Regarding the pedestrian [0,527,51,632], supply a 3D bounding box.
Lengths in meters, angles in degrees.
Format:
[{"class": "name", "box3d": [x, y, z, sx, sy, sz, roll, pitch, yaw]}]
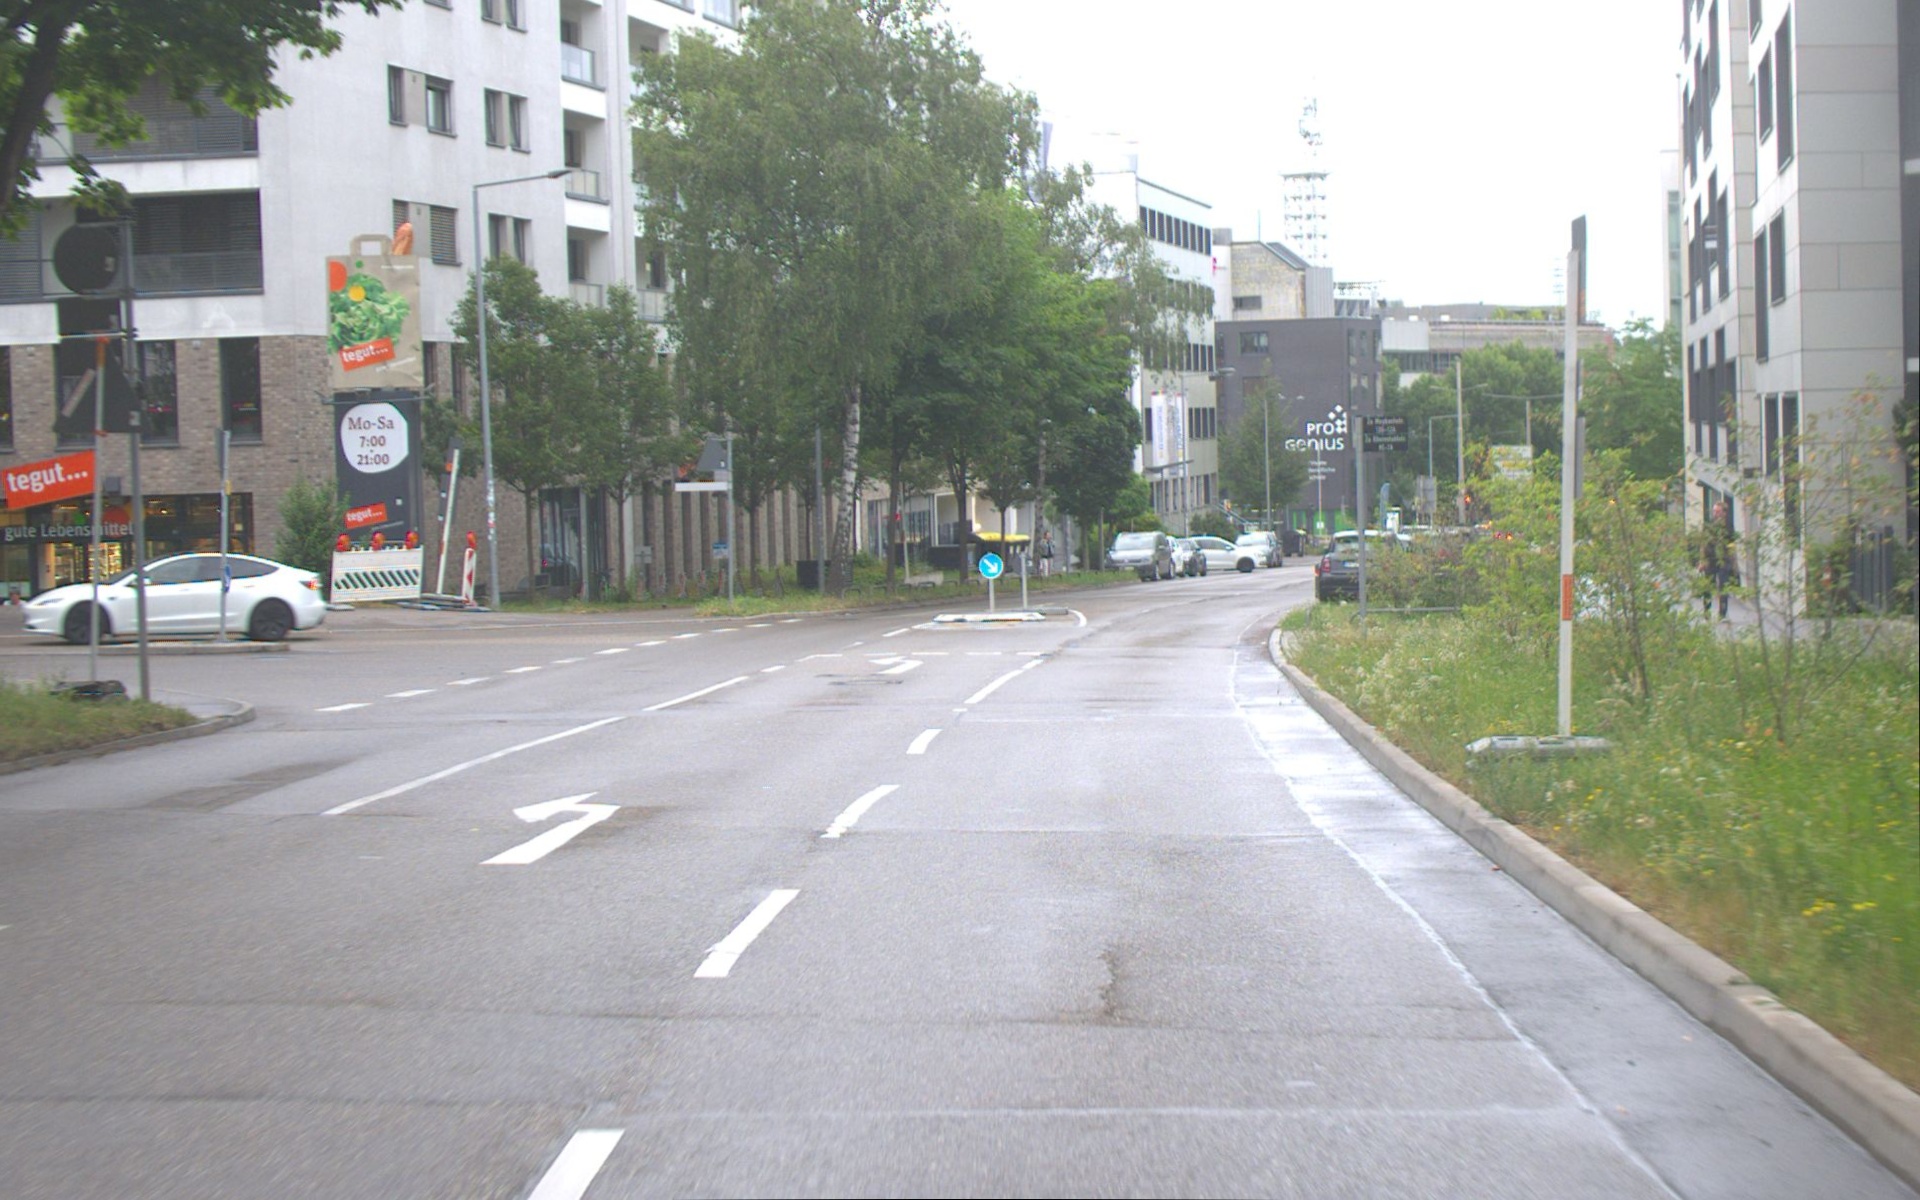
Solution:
[{"class": "pedestrian", "box3d": [-18.416, -0.411, 67.340, 0.883, 2.006, 1.117, 0, 2, 3]}]

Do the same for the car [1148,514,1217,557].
[{"class": "car", "box3d": [8.102, -2.346, 124.849, 1.798, 1.511, 4.243, 0, 1, 14]}]

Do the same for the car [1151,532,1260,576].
[{"class": "car", "box3d": [9.366, -1.771, 131.211, 3.983, 1.571, 2.000, -1, 2, 0]}]

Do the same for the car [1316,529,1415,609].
[{"class": "car", "box3d": [8.009, -0.629, 67.703, 1.547, 1.473, 3.658, 0, 2, 13]}]

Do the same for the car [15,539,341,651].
[{"class": "car", "box3d": [-12.513, -0.106, 54.990, 4.804, 1.655, 2.064, -1, 1, -21]}]

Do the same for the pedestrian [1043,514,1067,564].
[{"class": "pedestrian", "box3d": [3.225, -2.074, 116.661, 0.708, 1.677, 0.956, -1, 2, 8]}]

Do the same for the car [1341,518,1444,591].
[{"class": "car", "box3d": [9.189, -0.960, 72.853, 1.808, 1.479, 4.493, 0, 1, 12]}]

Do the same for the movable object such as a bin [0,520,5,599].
[{"class": "movable object such as a bin", "box3d": [-16.897, -0.687, 58.976, 0.715, 1.358, 0.822, -1, 2, 5]}]

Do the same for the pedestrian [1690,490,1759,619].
[{"class": "pedestrian", "box3d": [10.792, -0.646, 48.579, 0.823, 1.790, 0.778, -2, 0, 6]}]

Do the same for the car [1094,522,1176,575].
[{"class": "car", "box3d": [5.870, -1.732, 114.999, 2.078, 1.603, 4.684, -2, 2, 11]}]
